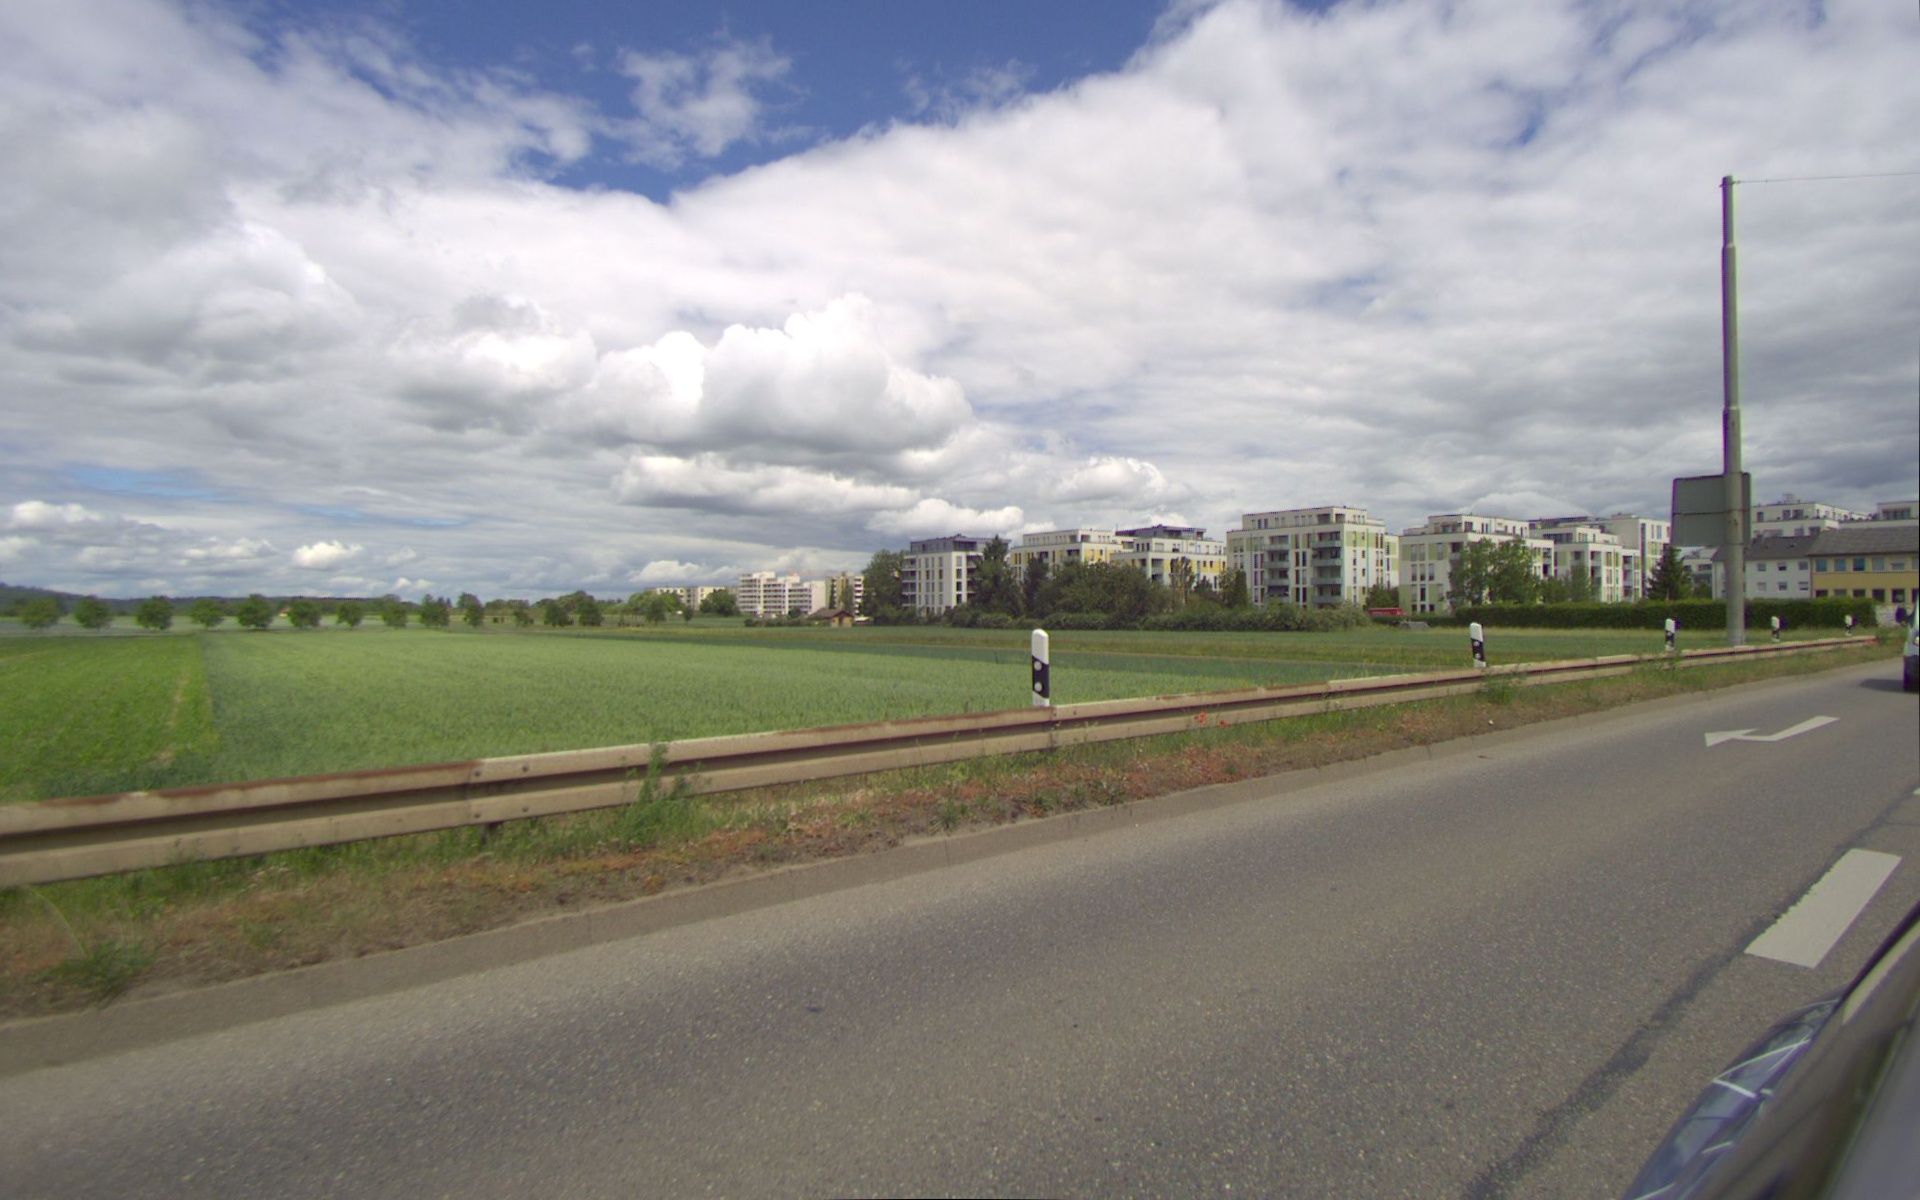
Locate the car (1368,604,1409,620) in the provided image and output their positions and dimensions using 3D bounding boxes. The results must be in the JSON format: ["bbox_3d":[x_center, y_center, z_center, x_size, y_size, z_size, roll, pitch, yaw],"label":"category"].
[{"bbox_3d":[55.691,1.541,131.547,1.965,2.039,4.434,0,0,-40],"label":"car"}]

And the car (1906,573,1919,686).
[{"bbox_3d":[19.265,0.503,18.547,5.775,1.942,1.998,0,0,-39],"label":"car"}]
